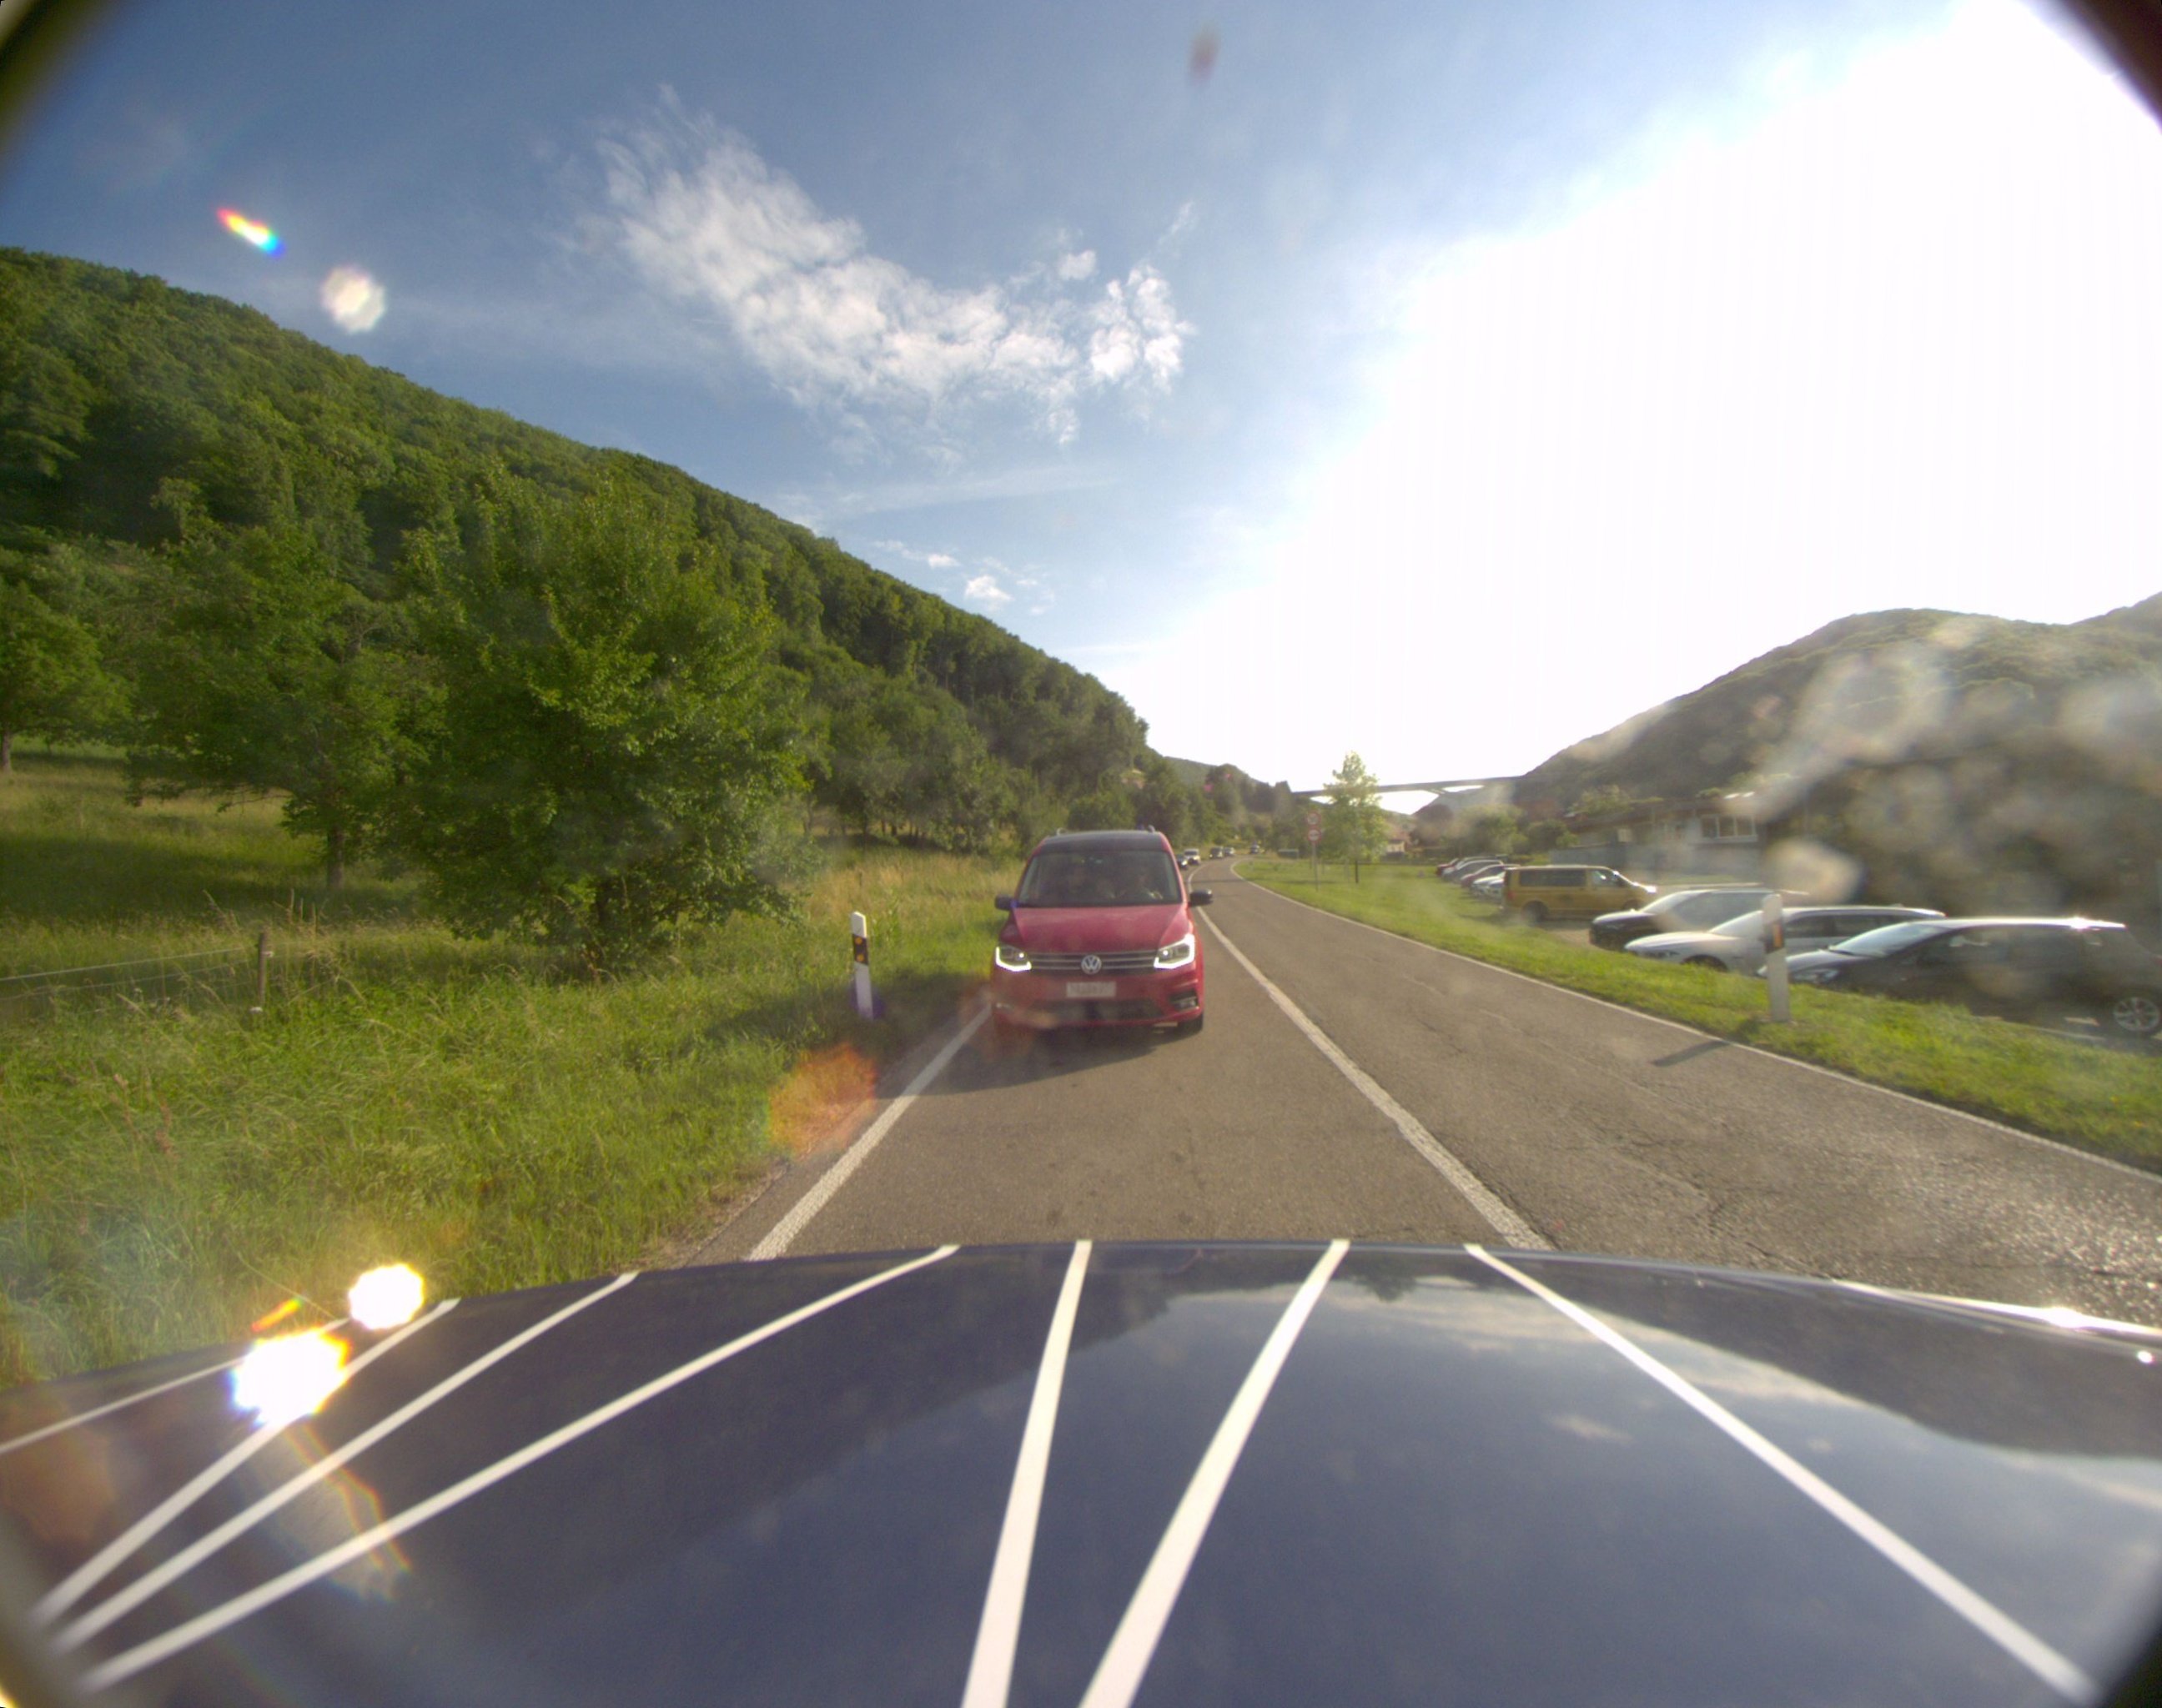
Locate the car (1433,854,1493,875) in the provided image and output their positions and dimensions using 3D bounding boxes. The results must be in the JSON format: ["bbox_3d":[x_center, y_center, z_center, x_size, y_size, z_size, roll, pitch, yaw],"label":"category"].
[{"bbox_3d":[32.672,0.902,65.073,4.436,1.709,2.003,-1,0,22],"label":"car"}]

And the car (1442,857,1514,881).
[{"bbox_3d":[29.006,1.080,55.640,4.437,1.573,2.003,-2,0,22],"label":"car"}]

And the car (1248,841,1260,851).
[{"bbox_3d":[36.270,-1.714,159.623,1.908,1.893,4.005,-2,1,20],"label":"car"}]

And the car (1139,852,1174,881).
[{"bbox_3d":[4.279,0.683,42.820,1.798,1.464,4.286,-2,0,6],"label":"car"}]

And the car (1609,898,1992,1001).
[{"bbox_3d":[12.587,1.614,13.730,4.644,1.488,1.915,-1,0,19],"label":"car"}]

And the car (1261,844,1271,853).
[{"bbox_3d":[41.842,-1.337,171.648,1.909,1.893,4.005,-2,1,19],"label":"car"}]

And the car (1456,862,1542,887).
[{"bbox_3d":[25.324,1.216,46.197,4.436,1.443,2.003,-1,0,23],"label":"car"}]

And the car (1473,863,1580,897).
[{"bbox_3d":[22.339,1.292,38.332,4.436,1.577,2.003,-1,0,23],"label":"car"}]

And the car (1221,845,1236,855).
[{"bbox_3d":[25.411,-0.722,130.598,1.996,1.706,4.005,-2,0,17],"label":"car"}]

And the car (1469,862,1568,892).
[{"bbox_3d":[23.737,1.239,41.408,4.436,1.573,2.003,-1,0,22],"label":"car"}]

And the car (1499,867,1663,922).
[{"bbox_3d":[17.820,1.413,27.396,4.652,1.802,2.003,-1,0,23],"label":"car"}]

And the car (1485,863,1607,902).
[{"bbox_3d":[21.259,1.295,34.992,4.544,1.691,2.003,-1,0,23],"label":"car"}]

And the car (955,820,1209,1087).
[{"bbox_3d":[0.158,0.724,7.526,1.746,1.849,4.350,-2,0,4],"label":"car"}]

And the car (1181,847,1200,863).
[{"bbox_3d":[12.090,0.102,83.454,1.797,1.725,4.287,-2,0,11],"label":"car"}]

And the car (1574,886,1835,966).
[{"bbox_3d":[14.400,1.677,17.879,4.288,1.628,1.915,-3,0,18],"label":"car"}]

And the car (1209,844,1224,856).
[{"bbox_3d":[20.158,-0.587,112.865,1.677,1.637,3.351,-3,-2,16],"label":"car"}]

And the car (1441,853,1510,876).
[{"bbox_3d":[31.071,0.814,59.985,4.664,1.752,2.003,-1,0,22],"label":"car"}]

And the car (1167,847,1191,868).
[{"bbox_3d":[8.309,0.334,64.446,1.911,1.675,4.003,-2,-1,8],"label":"car"}]

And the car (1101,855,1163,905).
[{"bbox_3d":[1.681,0.789,24.773,1.798,1.464,4.285,-2,0,4],"label":"car"}]

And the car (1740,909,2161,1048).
[{"bbox_3d":[12.200,1.631,10.733,3.990,1.526,1.836,-1,0,22],"label":"car"}]
